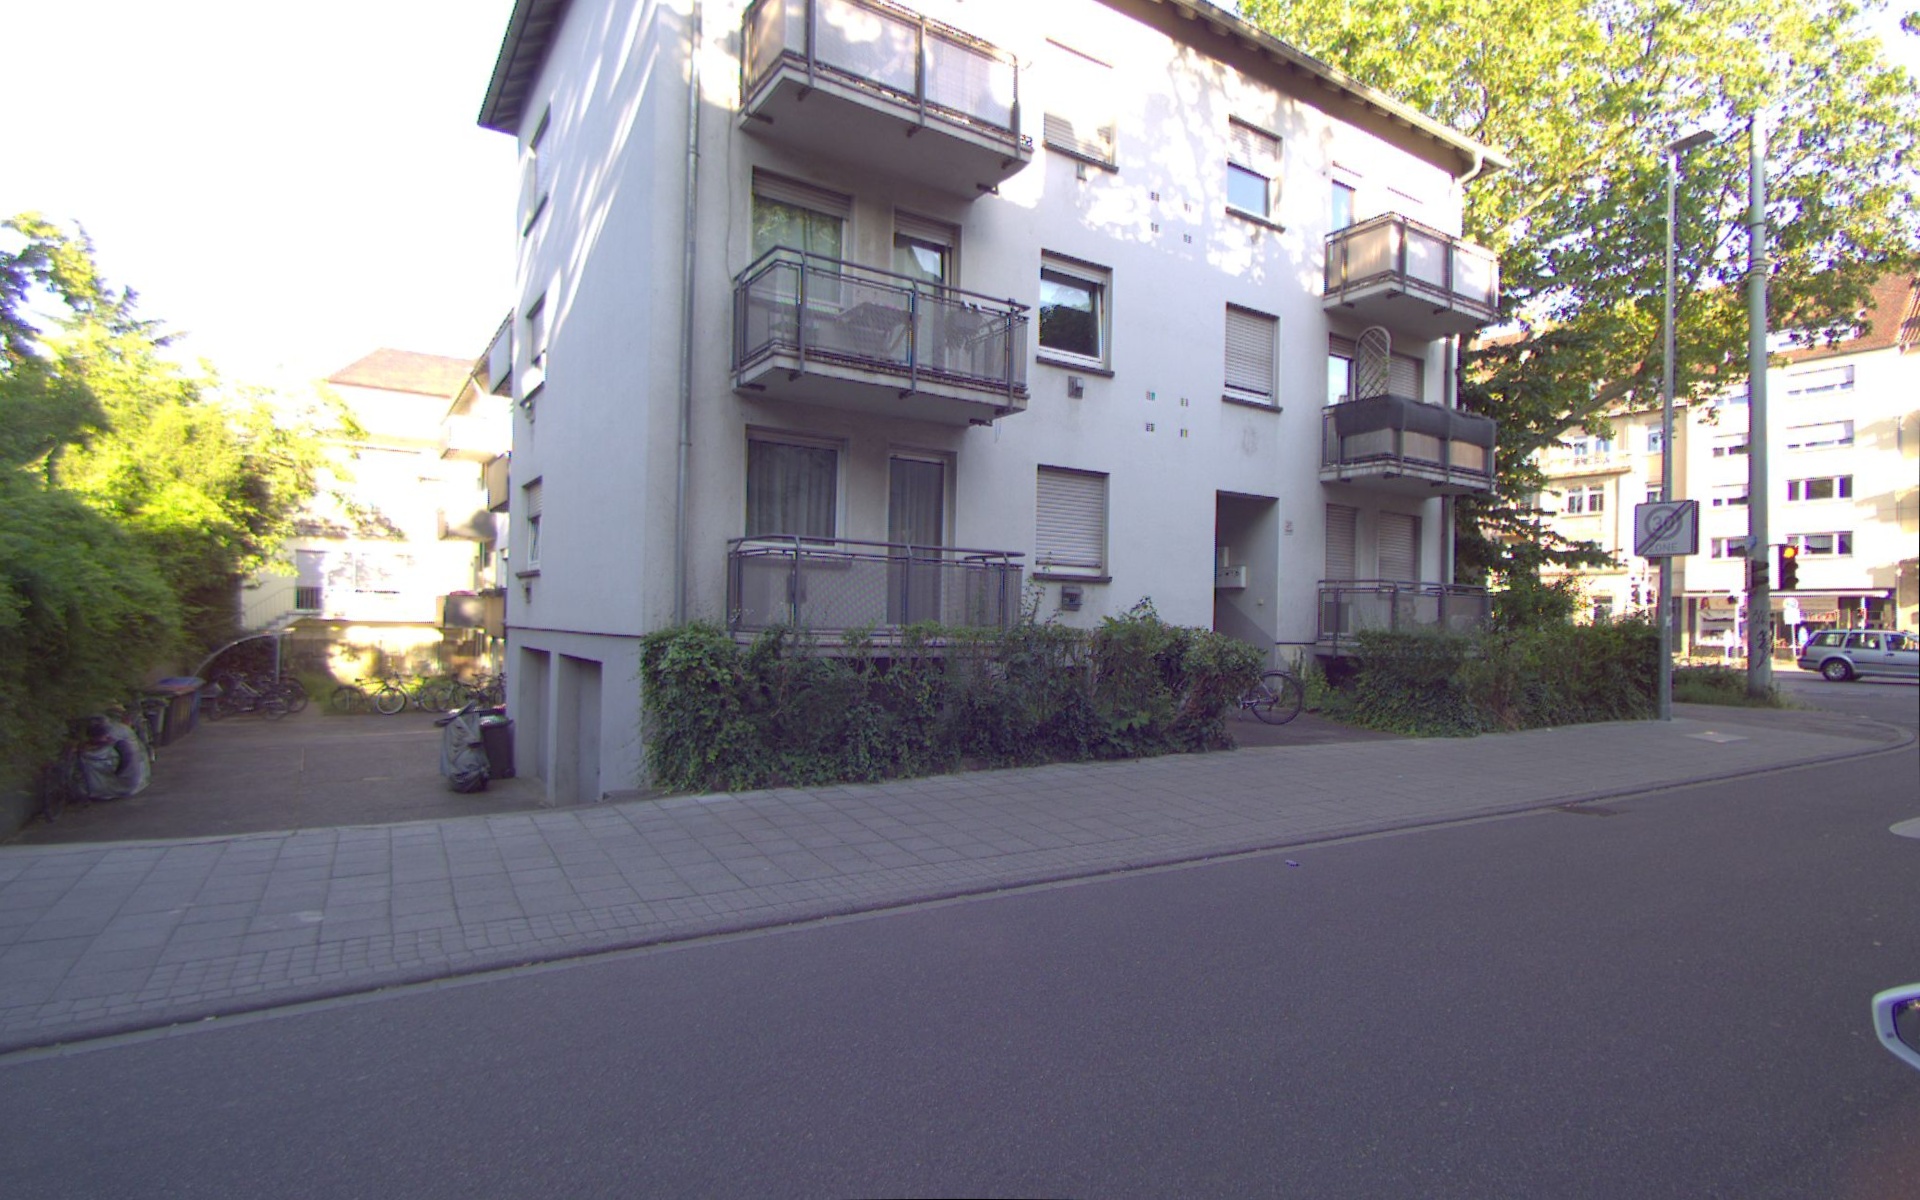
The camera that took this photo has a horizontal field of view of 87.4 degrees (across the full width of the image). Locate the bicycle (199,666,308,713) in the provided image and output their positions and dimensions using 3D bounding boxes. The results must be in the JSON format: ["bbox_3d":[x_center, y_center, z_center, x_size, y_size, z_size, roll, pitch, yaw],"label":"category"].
[{"bbox_3d":[-19.016,2.397,27.098,2.311,1.192,0.689,2,-4,-30],"label":"bicycle"}]

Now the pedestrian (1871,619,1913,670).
[{"bbox_3d":[47.080,2.236,50.721,1.049,2.497,1.338,1,0,-34],"label":"pedestrian"}]

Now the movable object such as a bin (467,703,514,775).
[{"bbox_3d":[-7.907,2.323,16.911,0.606,1.129,0.795,1,-3,-33],"label":"movable object such as a bin"}]

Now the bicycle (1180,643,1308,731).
[{"bbox_3d":[3.838,1.149,13.579,1.590,1.022,0.517,3,1,20],"label":"bicycle"}]

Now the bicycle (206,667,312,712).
[{"bbox_3d":[-19.363,2.459,27.822,2.311,1.192,0.689,2,-4,-30],"label":"bicycle"}]

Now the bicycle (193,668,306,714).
[{"bbox_3d":[-18.591,2.371,26.351,2.311,1.148,0.689,2,-4,-30],"label":"bicycle"}]

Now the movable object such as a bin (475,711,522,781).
[{"bbox_3d":[-7.392,2.323,16.099,0.606,1.051,0.534,1,-3,-34],"label":"movable object such as a bin"}]

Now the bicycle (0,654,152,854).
[{"bbox_3d":[-10.592,1.653,11.988,0.961,1.917,4.156,1,-2,-32],"label":"bicycle"}]

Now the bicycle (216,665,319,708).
[{"bbox_3d":[-19.633,2.441,28.550,2.311,1.192,0.689,2,-4,-30],"label":"bicycle"}]

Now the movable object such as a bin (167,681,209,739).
[{"bbox_3d":[-15.921,2.251,20.733,0.606,1.129,0.795,1,-3,-33],"label":"movable object such as a bin"}]

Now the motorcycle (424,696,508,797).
[{"bbox_3d":[-7.395,2.148,15.016,0.739,1.313,1.563,2,-2,-41],"label":"motorcycle"}]

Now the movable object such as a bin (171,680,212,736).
[{"bbox_3d":[-16.353,2.281,21.395,0.606,1.129,0.795,1,-3,-33],"label":"movable object such as a bin"}]

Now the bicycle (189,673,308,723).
[{"bbox_3d":[-17.327,2.374,24.535,2.268,1.148,0.689,2,-4,-30],"label":"bicycle"}]

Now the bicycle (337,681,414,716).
[{"bbox_3d":[-15.557,2.617,26.755,1.734,0.890,0.561,2,-4,-30],"label":"bicycle"}]

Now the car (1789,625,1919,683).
[{"bbox_3d":[25.918,1.479,27.807,1.645,1.516,4.316,1,-1,-36],"label":"car"}]

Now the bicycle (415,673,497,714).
[{"bbox_3d":[-13.903,2.565,27.755,1.982,1.085,0.561,2,-4,-30],"label":"bicycle"}]

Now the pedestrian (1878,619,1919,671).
[{"bbox_3d":[46.465,2.206,49.676,1.049,2.497,1.338,1,0,-34],"label":"pedestrian"}]

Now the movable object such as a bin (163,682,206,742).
[{"bbox_3d":[-15.480,2.219,20.063,0.606,1.129,0.795,1,-3,-33],"label":"movable object such as a bin"}]
